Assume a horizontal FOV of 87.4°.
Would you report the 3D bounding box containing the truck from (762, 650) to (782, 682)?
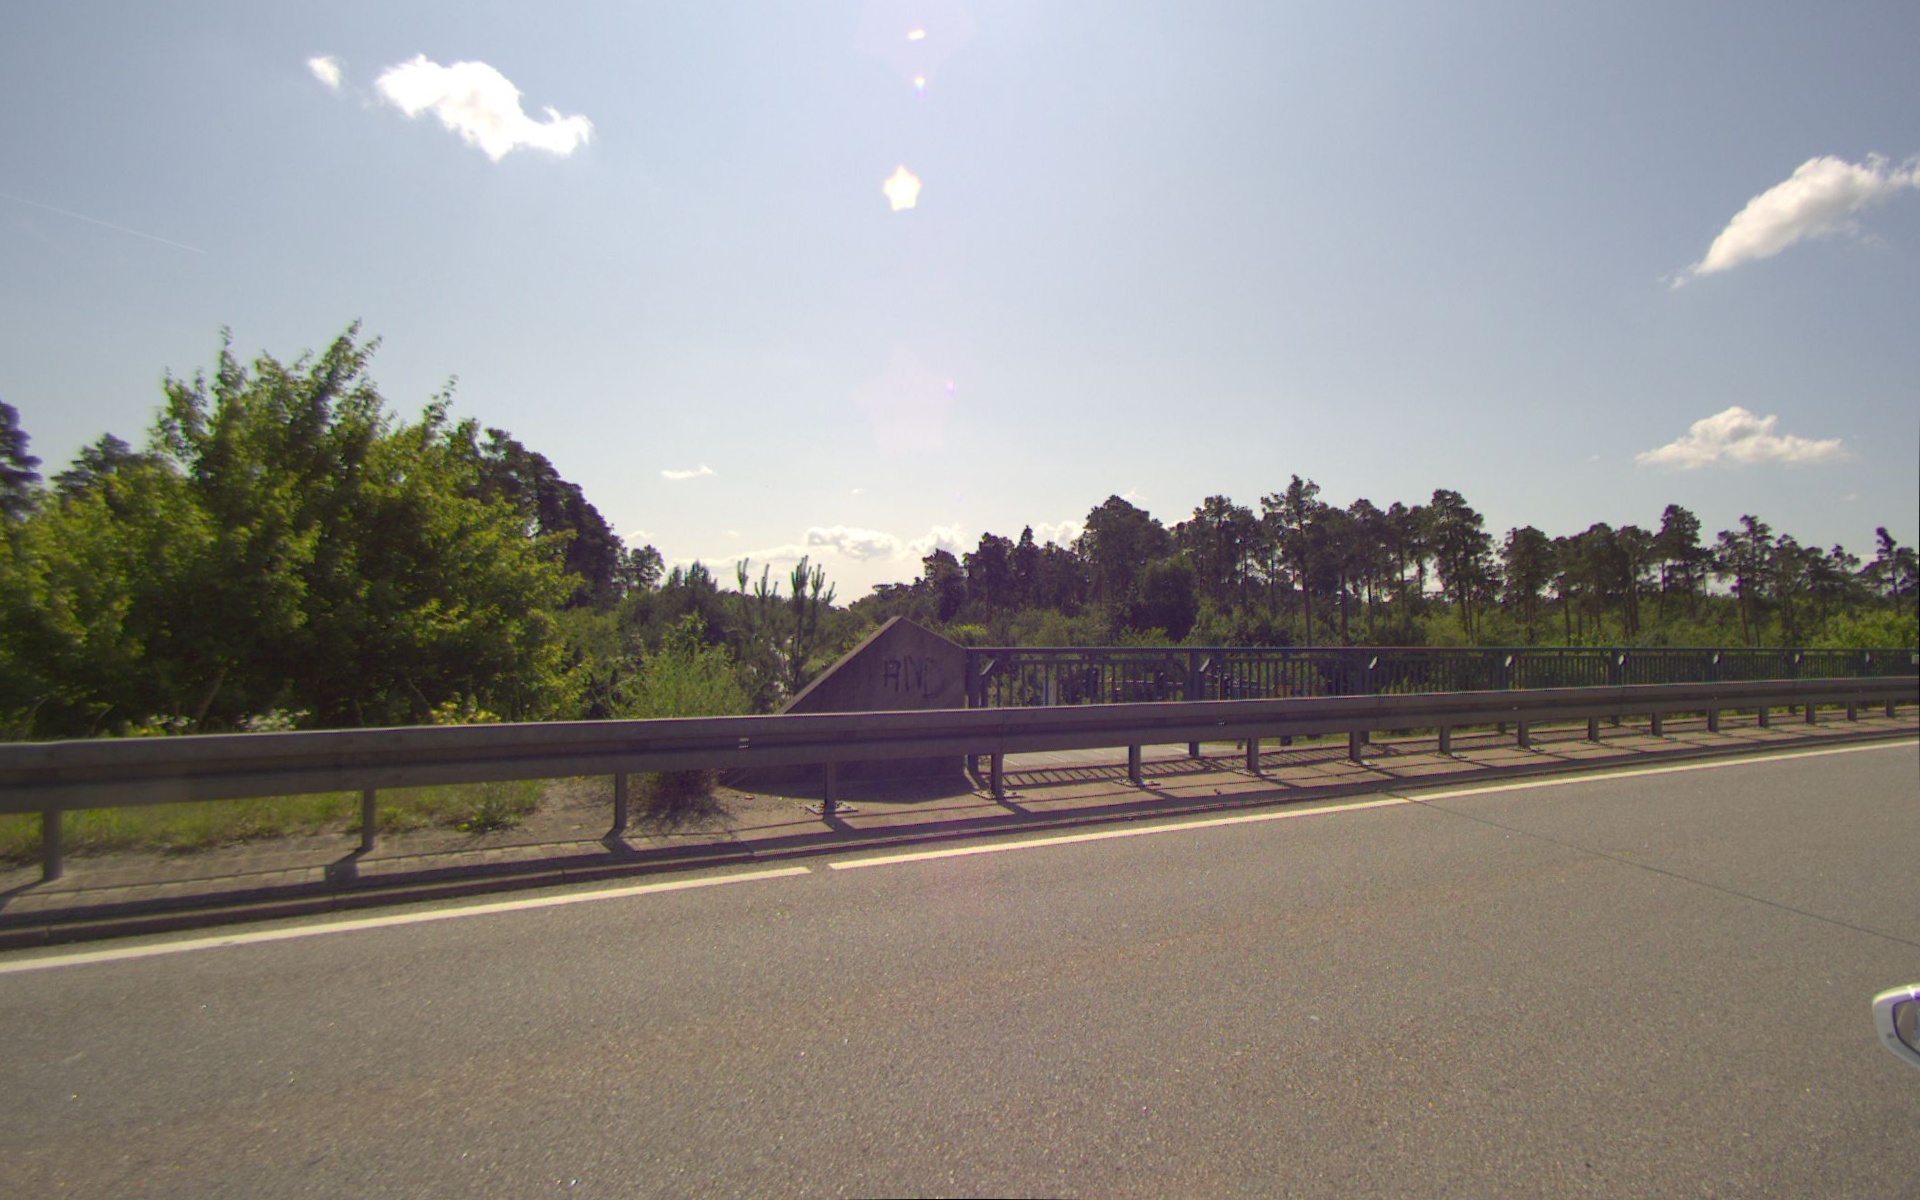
[{"bbox_3d":[-26.925,9.409,143.639,2.570,4.056,5.326,2,0,-13],"label":"truck"}]
